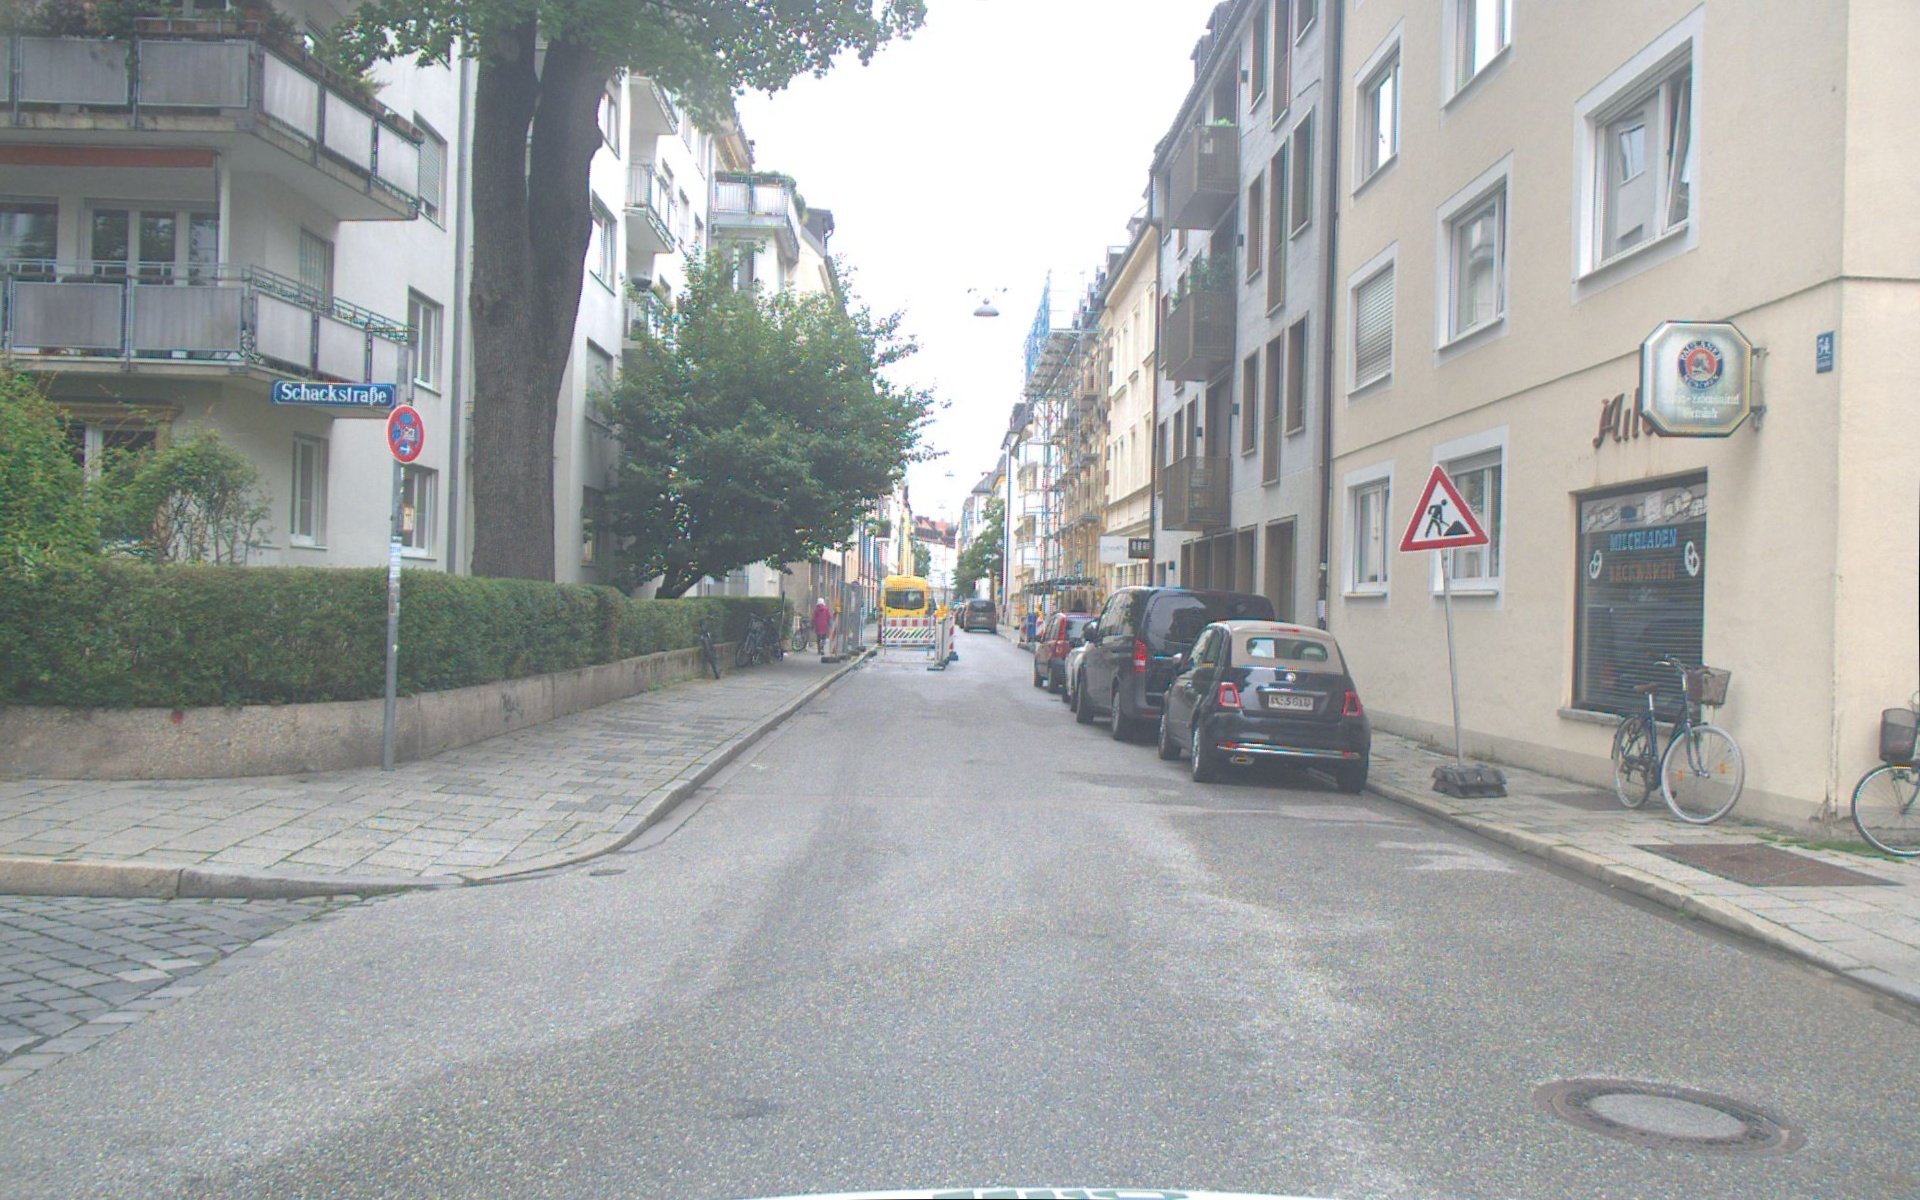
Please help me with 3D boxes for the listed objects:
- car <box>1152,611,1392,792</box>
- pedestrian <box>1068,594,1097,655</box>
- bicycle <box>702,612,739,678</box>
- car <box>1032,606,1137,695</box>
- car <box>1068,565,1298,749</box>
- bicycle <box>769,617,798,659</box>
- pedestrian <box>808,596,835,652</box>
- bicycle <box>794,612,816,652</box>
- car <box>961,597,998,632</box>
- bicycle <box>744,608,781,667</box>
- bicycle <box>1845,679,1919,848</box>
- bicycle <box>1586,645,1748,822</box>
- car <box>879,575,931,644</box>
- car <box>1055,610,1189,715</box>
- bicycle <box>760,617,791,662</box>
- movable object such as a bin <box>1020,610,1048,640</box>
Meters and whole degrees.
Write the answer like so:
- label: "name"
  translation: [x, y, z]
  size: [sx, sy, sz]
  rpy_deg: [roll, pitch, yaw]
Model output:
- label: "car"
  translation: [2.976, 0.914, 16.448]
  size: [1.601, 1.497, 3.537]
  rpy_deg: [3, 0, -1]
- label: "pedestrian"
  translation: [3.678, 0.738, 49.802]
  size: [0.715, 1.783, 0.988]
  rpy_deg: [-2, 0, -2]
- label: "bicycle"
  translation: [-4.217, 0.775, 29.199]
  size: [0.340, 1.090, 1.780]
  rpy_deg: [5, 0, -1]
- label: "car"
  translation: [2.394, 0.940, 32.601]
  size: [1.735, 1.550, 4.066]
  rpy_deg: [3, 0, 1]
- label: "car"
  translation: [2.735, 0.660, 21.480]
  size: [1.951, 2.011, 4.881]
  rpy_deg: [3, 0, -4]
- label: "bicycle"
  translation: [-4.320, 0.928, 40.546]
  size: [0.434, 0.995, 1.816]
  rpy_deg: [4, -1, 0]
- label: "pedestrian"
  translation: [-3.945, 0.686, 47.149]
  size: [0.625, 1.558, 0.747]
  rpy_deg: [2, 0, 1]
- label: "bicycle"
  translation: [-4.548, 0.925, 48.482]
  size: [0.369, 1.081, 1.597]
  rpy_deg: [7, 0, 0]
- label: "car"
  translation: [1.150, 0.827, 99.051]
  size: [1.953, 1.965, 4.658]
  rpy_deg: [3, 0, -2]
- label: "bicycle"
  translation: [-4.135, 0.780, 34.659]
  size: [0.478, 1.171, 1.698]
  rpy_deg: [4, -1, 0]
- label: "bicycle"
  translation: [6.595, 1.039, 10.570]
  size: [1.666, 1.045, 0.411]
  rpy_deg: [1, -2, -1]
- label: "bicycle"
  translation: [5.345, 0.971, 12.615]
  size: [0.401, 1.235, 1.818]
  rpy_deg: [-1, -1, -1]
- label: "car"
  translation: [-2.233, 0.369, 67.009]
  size: [1.953, 2.624, 6.734]
  rpy_deg: [1, 0, -2]
- label: "car"
  translation: [2.588, 0.962, 27.370]
  size: [1.732, 1.486, 4.380]
  rpy_deg: [3, 0, 0]
- label: "bicycle"
  translation: [-4.310, 0.909, 38.680]
  size: [0.434, 0.995, 1.853]
  rpy_deg: [4, -1, 0]
- label: "movable object such as a bin"
  translation: [3.443, 1.160, 76.763]
  size: [1.063, 1.370, 1.318]
  rpy_deg: [-2, 0, 11]
